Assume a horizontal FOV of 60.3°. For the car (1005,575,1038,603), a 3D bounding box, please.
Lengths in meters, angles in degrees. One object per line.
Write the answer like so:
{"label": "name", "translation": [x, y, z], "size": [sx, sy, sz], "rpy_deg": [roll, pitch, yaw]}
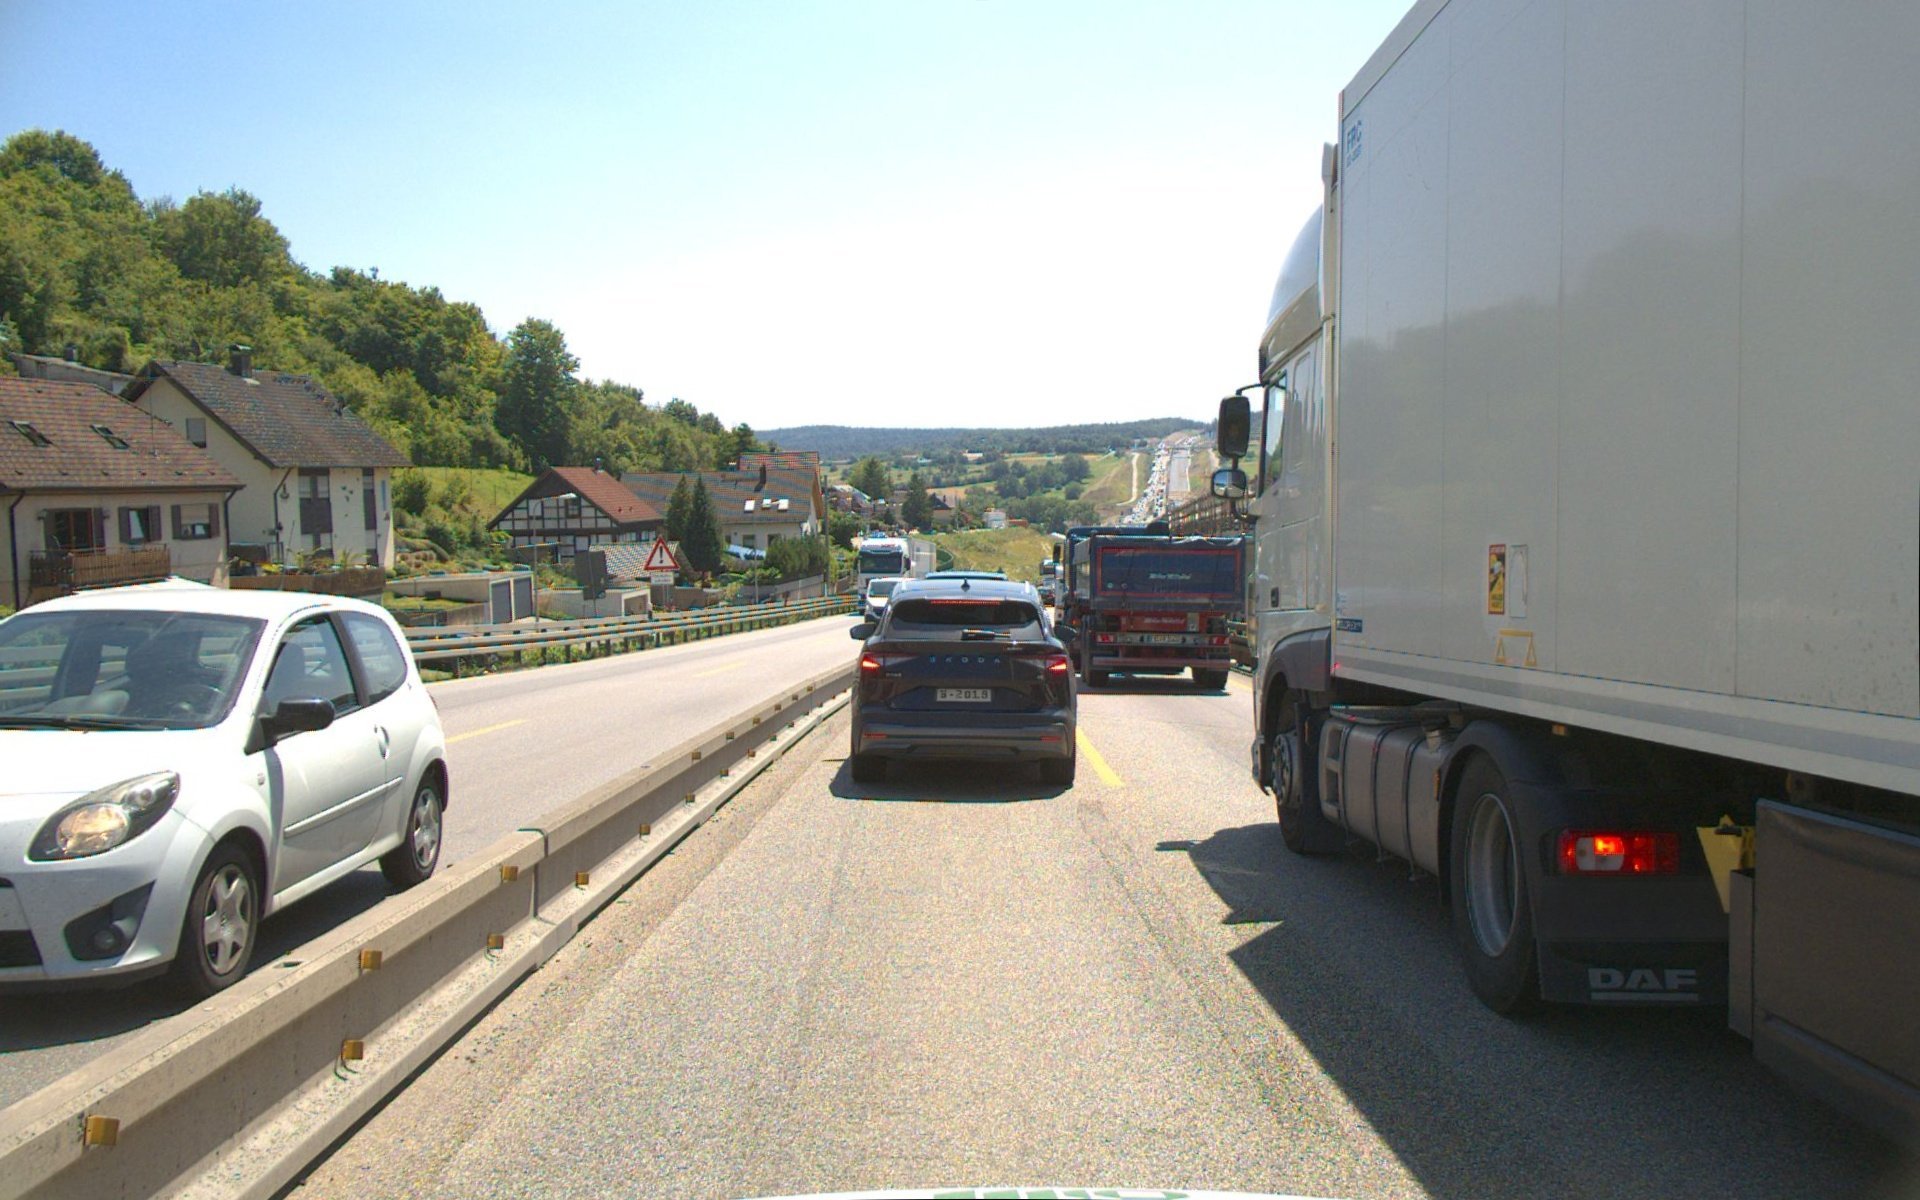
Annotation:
{"label": "car", "translation": [3.762, -0.669, 100.344], "size": [1.952, 1.613, 3.837], "rpy_deg": [1, 0, 3]}

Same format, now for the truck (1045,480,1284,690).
{"label": "truck", "translation": [3.553, -0.207, 32.407], "size": [3.129, 3.247, 12.808], "rpy_deg": [1, 0, 0]}

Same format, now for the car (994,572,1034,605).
{"label": "car", "translation": [2.844, -0.597, 86.542], "size": [1.952, 1.613, 3.837], "rpy_deg": [1, 0, 3]}

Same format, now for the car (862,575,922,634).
{"label": "car", "translation": [-2.419, 0.174, 59.637], "size": [1.953, 2.046, 4.857], "rpy_deg": [0, 0, 0]}

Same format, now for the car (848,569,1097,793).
{"label": "car", "translation": [0.041, 0.607, 14.151], "size": [1.805, 1.614, 3.906], "rpy_deg": [1, 0, -2]}

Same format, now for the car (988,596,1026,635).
{"label": "car", "translation": [2.185, 0.693, 76.093], "size": [1.671, 1.650, 4.001], "rpy_deg": [1, 1, 2]}

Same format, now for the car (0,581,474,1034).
{"label": "car", "translation": [-3.487, 0.650, 7.193], "size": [1.711, 1.451, 3.709], "rpy_deg": [0, 1, -1]}

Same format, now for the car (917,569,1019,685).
{"label": "car", "translation": [0.082, 0.421, 29.912], "size": [1.672, 1.914, 3.999], "rpy_deg": [1, 1, -2]}

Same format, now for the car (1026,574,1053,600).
{"label": "car", "translation": [5.656, -0.904, 117.121], "size": [1.665, 1.758, 3.839], "rpy_deg": [1, 0, 7]}

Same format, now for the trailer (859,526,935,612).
{"label": "trailer", "translation": [-3.442, -1.598, 94.034], "size": [3.184, 4.455, 14.061], "rpy_deg": [1, 0, 2]}

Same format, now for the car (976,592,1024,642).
{"label": "car", "translation": [1.489, 0.595, 60.690], "size": [1.671, 1.650, 4.001], "rpy_deg": [1, 1, 2]}

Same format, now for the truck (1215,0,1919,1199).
{"label": "truck", "translation": [3.157, -0.615, 7.378], "size": [2.462, 4.095, 8.234], "rpy_deg": [1, 0, -2]}

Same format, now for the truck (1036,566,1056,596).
{"label": "truck", "translation": [12.837, -2.892, 246.002], "size": [2.694, 4.358, 4.960], "rpy_deg": [1, 1, 5]}

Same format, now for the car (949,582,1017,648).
{"label": "car", "translation": [0.591, 0.379, 45.820], "size": [1.672, 1.650, 3.999], "rpy_deg": [1, 1, -2]}

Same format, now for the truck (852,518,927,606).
{"label": "truck", "translation": [-3.671, -1.921, 88.410], "size": [3.234, 4.438, 8.303], "rpy_deg": [1, 0, 2]}
